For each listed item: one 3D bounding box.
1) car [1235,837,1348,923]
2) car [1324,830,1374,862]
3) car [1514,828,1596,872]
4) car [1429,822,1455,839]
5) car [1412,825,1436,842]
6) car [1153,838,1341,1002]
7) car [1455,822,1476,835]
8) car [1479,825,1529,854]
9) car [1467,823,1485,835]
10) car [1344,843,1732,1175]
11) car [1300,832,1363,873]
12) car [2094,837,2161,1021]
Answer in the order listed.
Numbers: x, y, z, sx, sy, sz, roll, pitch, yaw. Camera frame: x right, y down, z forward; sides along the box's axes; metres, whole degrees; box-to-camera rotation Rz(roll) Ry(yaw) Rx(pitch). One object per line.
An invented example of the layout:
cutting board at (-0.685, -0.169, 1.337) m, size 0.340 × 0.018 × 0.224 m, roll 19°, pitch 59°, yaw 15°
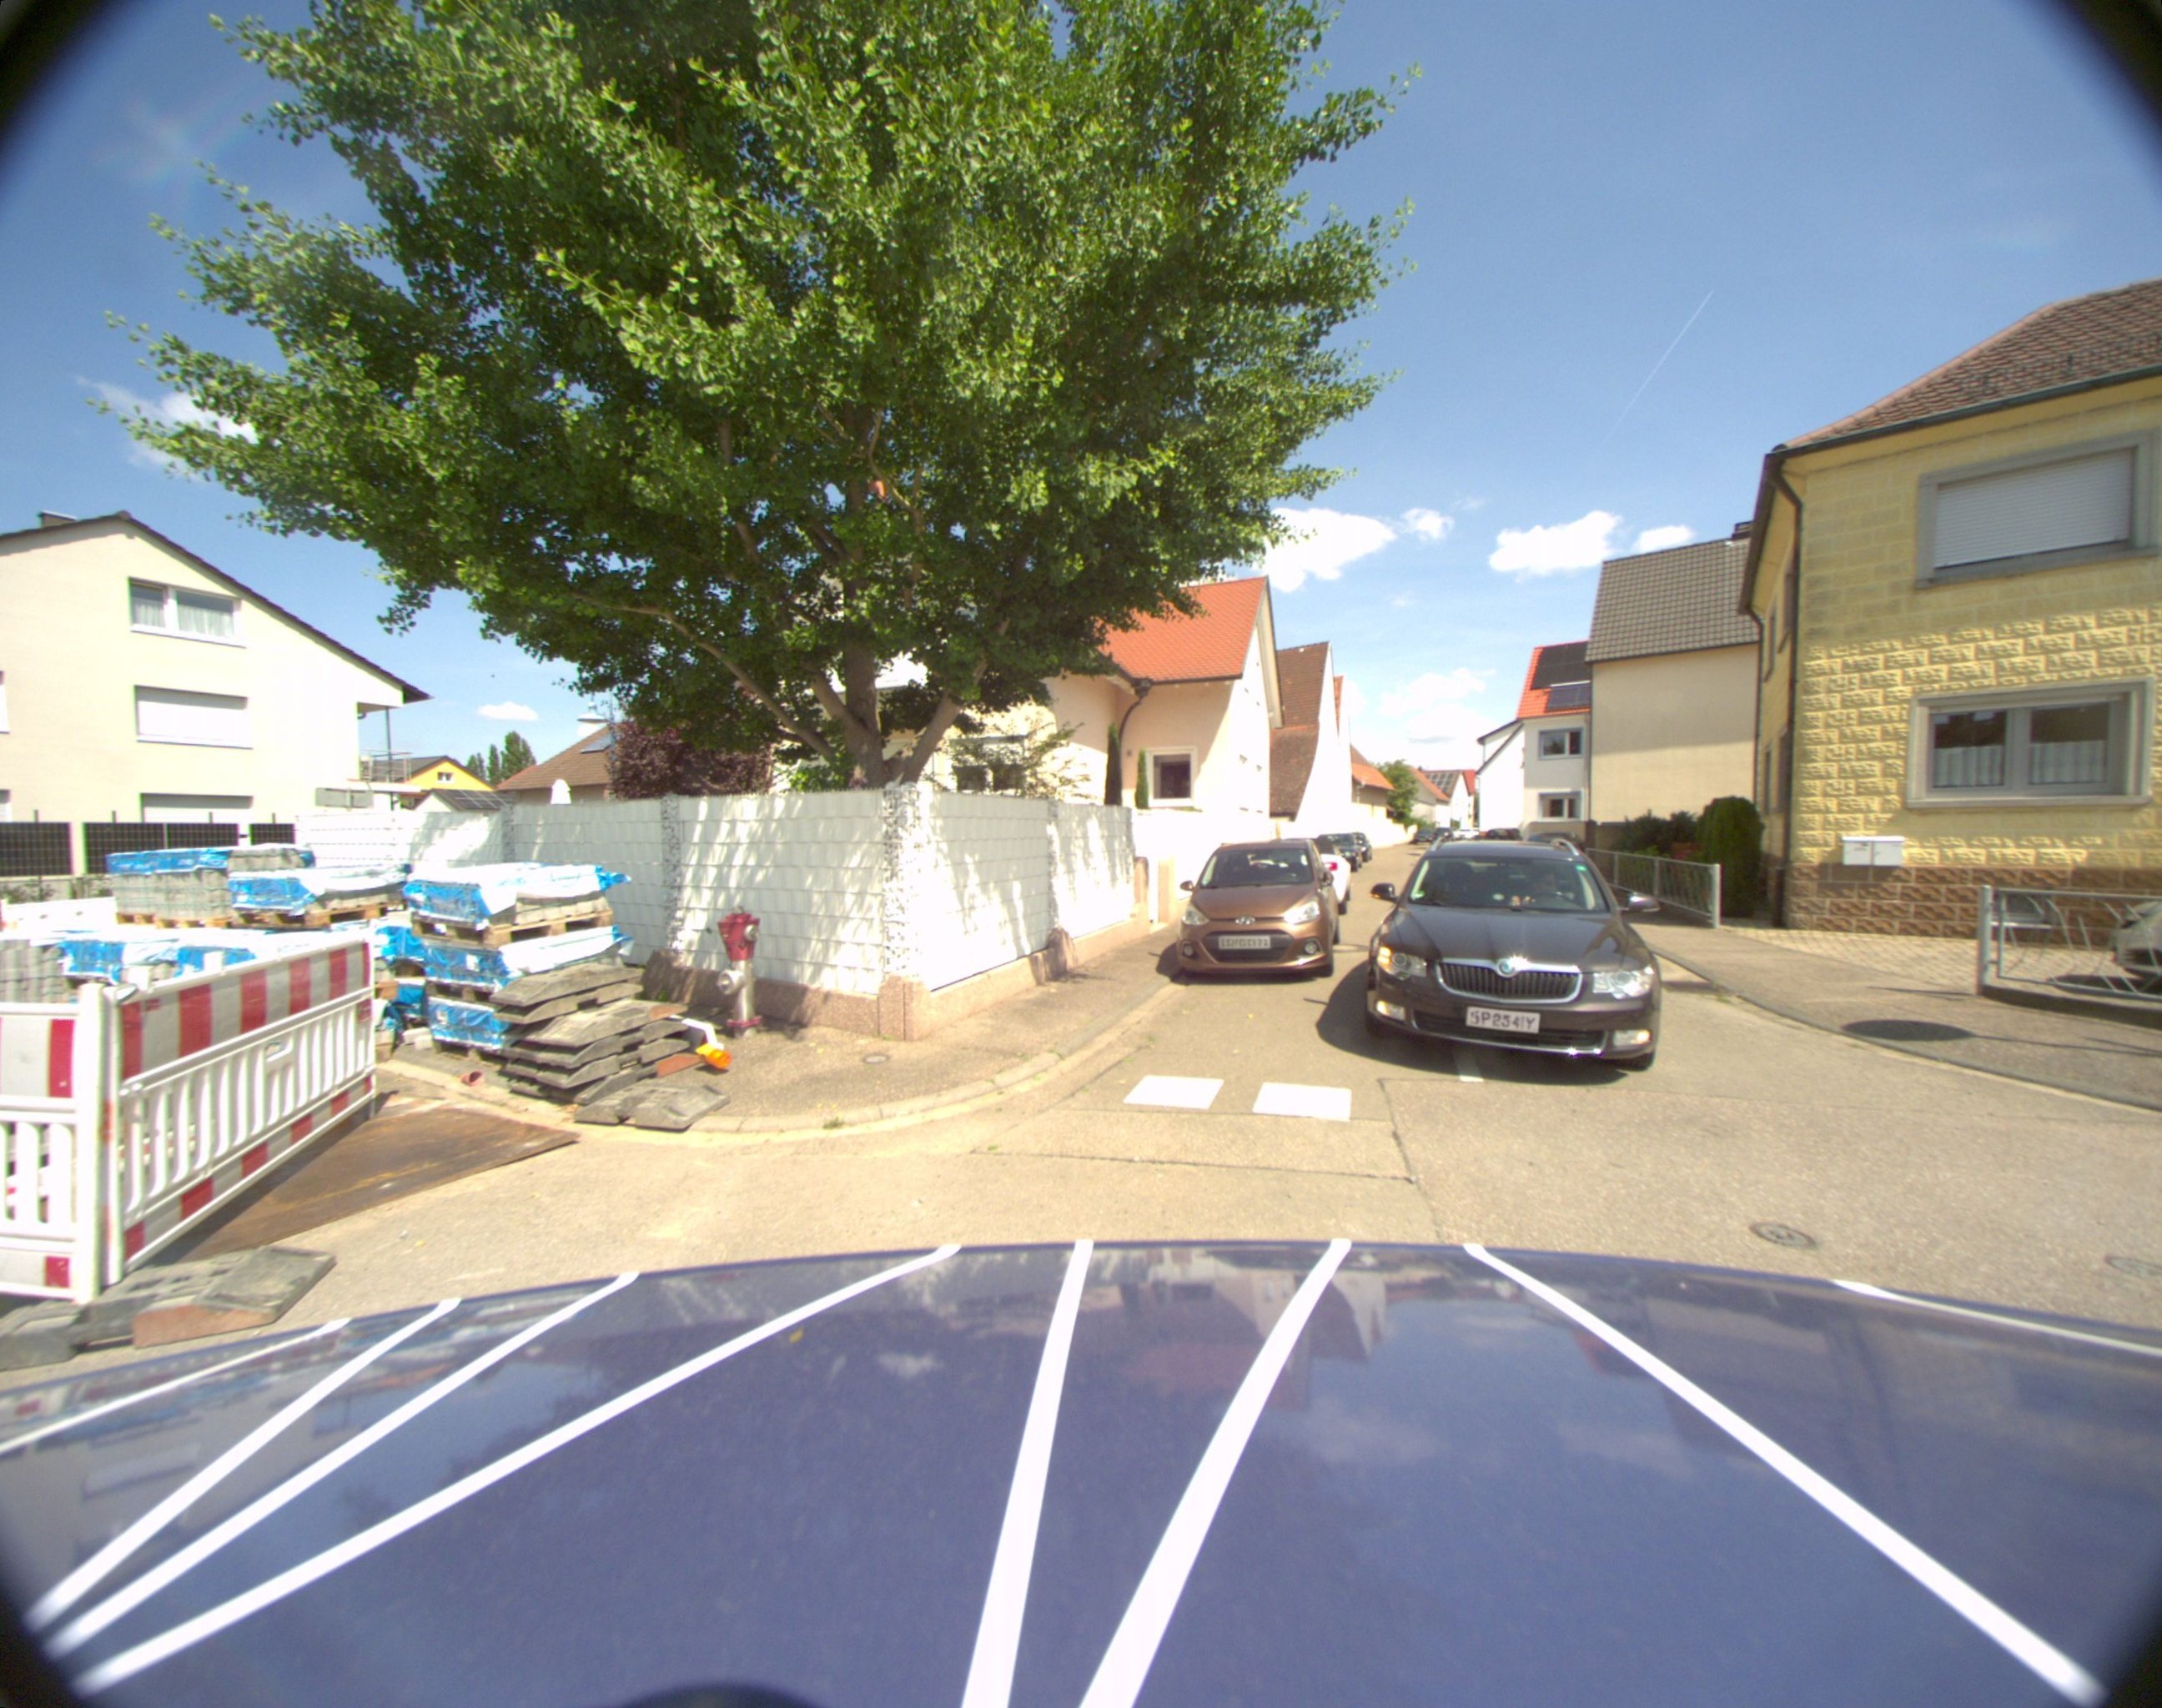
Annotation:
car at (4.556, 0.416, 15.920) m, size 1.897 × 1.421 × 4.742 m, roll 0°, pitch 2°, yaw 20°
car at (12.941, -0.426, 36.534) m, size 1.897 × 1.357 × 4.420 m, roll 0°, pitch 3°, yaw 24°
car at (17.278, -0.187, 27.614) m, size 1.770 × 1.342 × 4.477 m, roll 0°, pitch 3°, yaw 42°
car at (36.673, -2.369, 77.055) m, size 1.781 × 1.600 × 4.007 m, roll -2°, pitch 2°, yaw 33°
car at (31.506, -1.927, 69.709) m, size 1.781 × 1.471 × 4.006 m, roll 1°, pitch 3°, yaw 27°
car at (2.296, 0.656, 9.610) m, size 1.714 × 1.524 × 4.040 m, roll -3°, pitch 1°, yaw 20°
car at (47.744, -3.159, 94.345) m, size 1.781 × 1.492 × 4.046 m, roll -2°, pitch 2°, yaw 33°
car at (22.504, -0.778, 40.372) m, size 1.638 × 1.447 × 3.794 m, roll -1°, pitch 2°, yaw 40°
car at (54.646, -3.487, 105.088) m, size 1.781 × 1.492 × 4.046 m, roll -2°, pitch 2°, yaw 33°
car at (3.460, 0.735, 6.226) m, size 1.781 × 1.527 × 4.717 m, roll 1°, pitch 2°, yaw 27°
car at (9.599, -0.105, 28.903) m, size 1.897 × 1.357 × 4.743 m, roll 0°, pitch 3°, yaw 23°
car at (10.825, 0.653, 5.262) m, size 1.795 × 1.477 × 4.459 m, roll -3°, pitch 3°, yaw -39°
